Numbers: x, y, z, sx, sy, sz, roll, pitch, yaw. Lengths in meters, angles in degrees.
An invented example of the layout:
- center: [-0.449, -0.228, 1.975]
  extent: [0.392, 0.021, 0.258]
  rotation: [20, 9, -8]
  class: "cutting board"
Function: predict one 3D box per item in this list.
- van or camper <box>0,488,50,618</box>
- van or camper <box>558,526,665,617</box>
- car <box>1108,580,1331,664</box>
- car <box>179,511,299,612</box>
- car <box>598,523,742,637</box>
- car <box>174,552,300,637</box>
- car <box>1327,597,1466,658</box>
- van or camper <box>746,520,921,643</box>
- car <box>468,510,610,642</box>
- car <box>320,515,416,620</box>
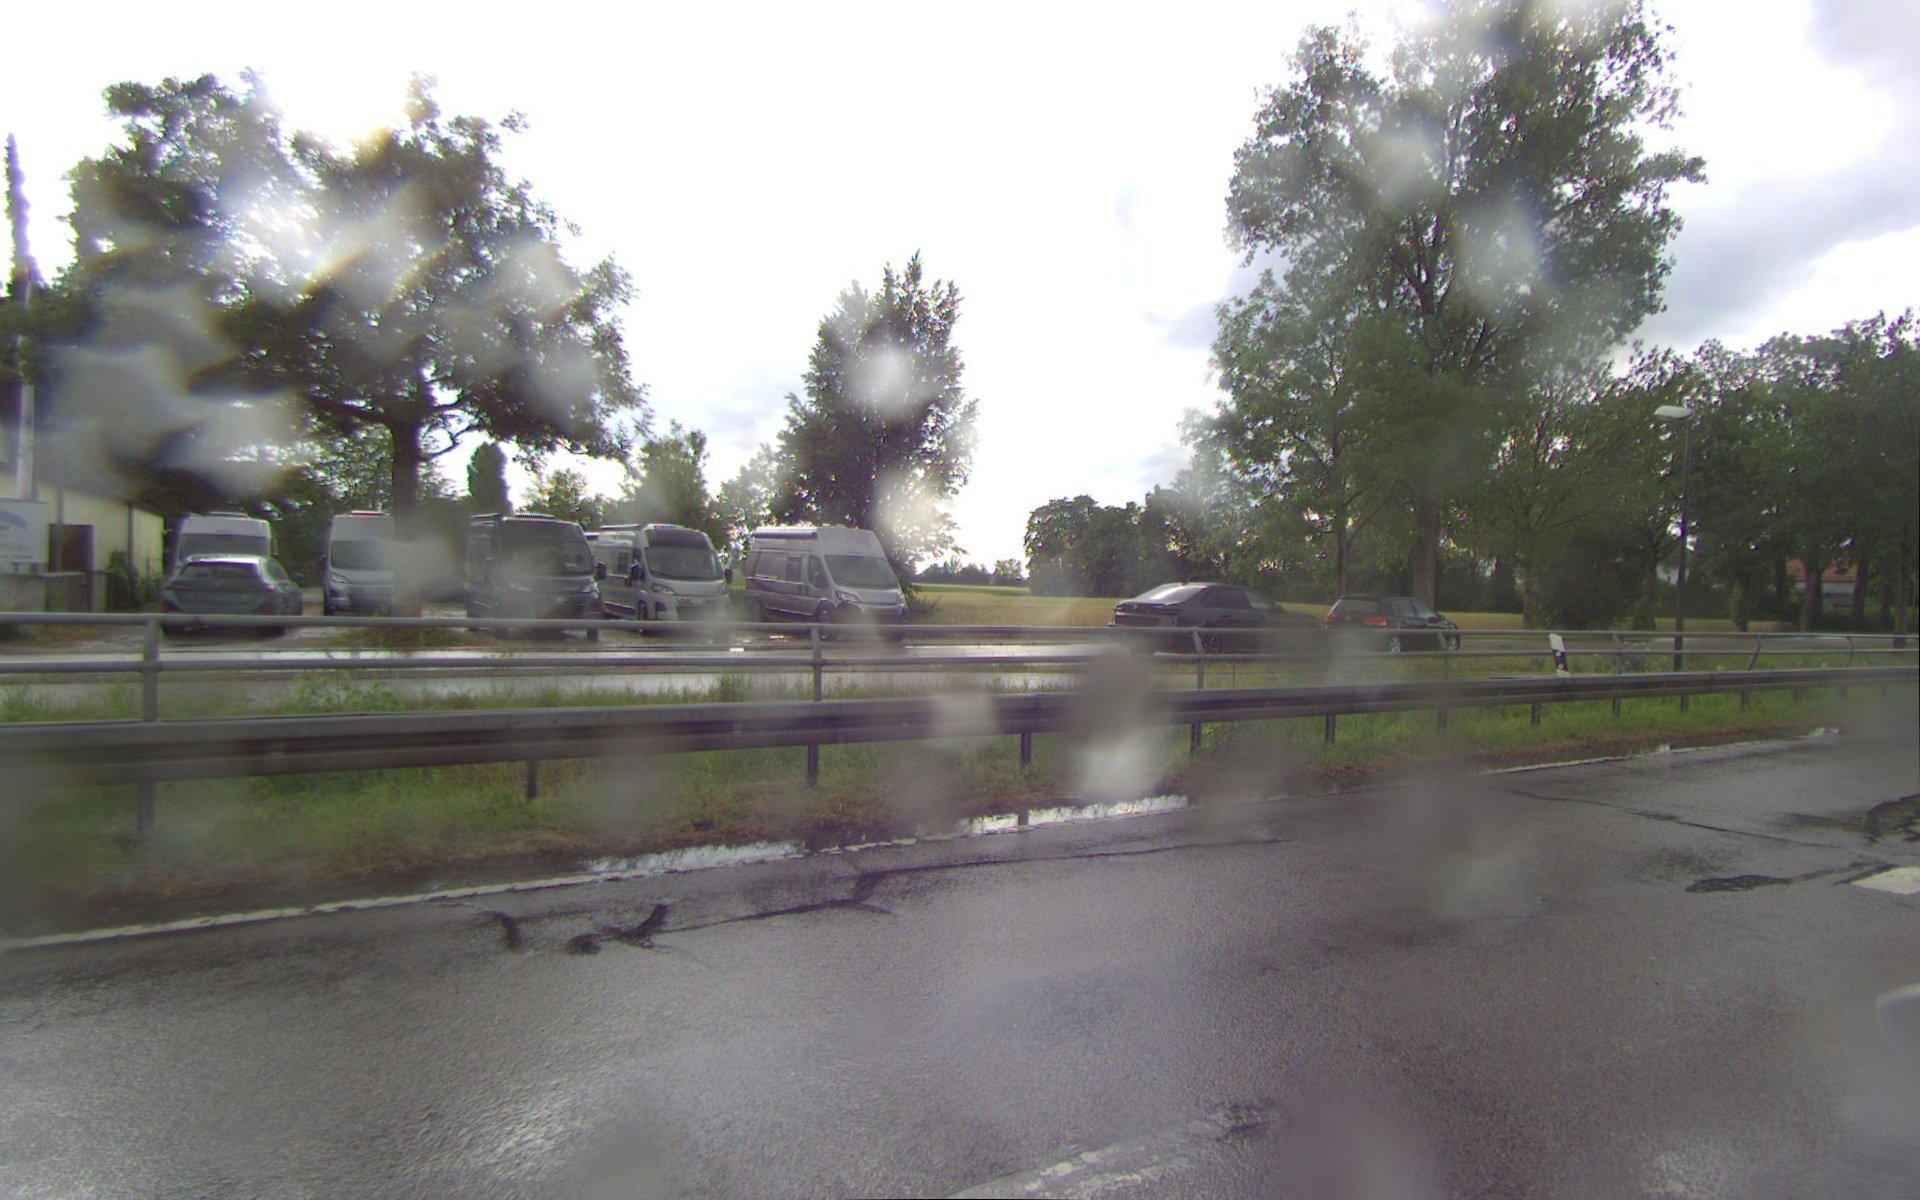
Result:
- center: [-20.880, -1.000, 20.315]
  extent: [2.533, 2.626, 6.188]
  rotation: [1, 2, -32]
  class: "van or camper"
- center: [-11.188, -0.932, 31.985]
  extent: [1.978, 2.625, 5.772]
  rotation: [1, 2, -32]
  class: "van or camper"
- center: [5.415, 0.438, 20.583]
  extent: [5.071, 1.511, 1.505]
  rotation: [1, 2, -36]
  class: "car"
- center: [-19.673, -1.040, 27.662]
  extent: [2.067, 2.449, 6.061]
  rotation: [1, 1, -30]
  class: "car"
- center: [-7.215, -0.518, 24.560]
  extent: [1.979, 2.492, 5.061]
  rotation: [1, 2, -33]
  class: "car"
- center: [-14.155, -0.158, 19.844]
  extent: [1.521, 1.516, 3.867]
  rotation: [1, 2, -29]
  class: "car"
- center: [10.640, 0.644, 24.403]
  extent: [3.860, 1.349, 1.274]
  rotation: [1, 1, -36]
  class: "car"
- center: [-3.333, -0.504, 25.110]
  extent: [2.058, 2.713, 5.842]
  rotation: [1, 2, -32]
  class: "van or camper"
- center: [-9.350, -0.550, 22.029]
  extent: [1.979, 2.535, 5.151]
  rotation: [1, 2, -33]
  class: "car"
- center: [-16.498, -0.898, 28.074]
  extent: [2.067, 2.573, 6.061]
  rotation: [1, 1, -30]
  class: "car"
